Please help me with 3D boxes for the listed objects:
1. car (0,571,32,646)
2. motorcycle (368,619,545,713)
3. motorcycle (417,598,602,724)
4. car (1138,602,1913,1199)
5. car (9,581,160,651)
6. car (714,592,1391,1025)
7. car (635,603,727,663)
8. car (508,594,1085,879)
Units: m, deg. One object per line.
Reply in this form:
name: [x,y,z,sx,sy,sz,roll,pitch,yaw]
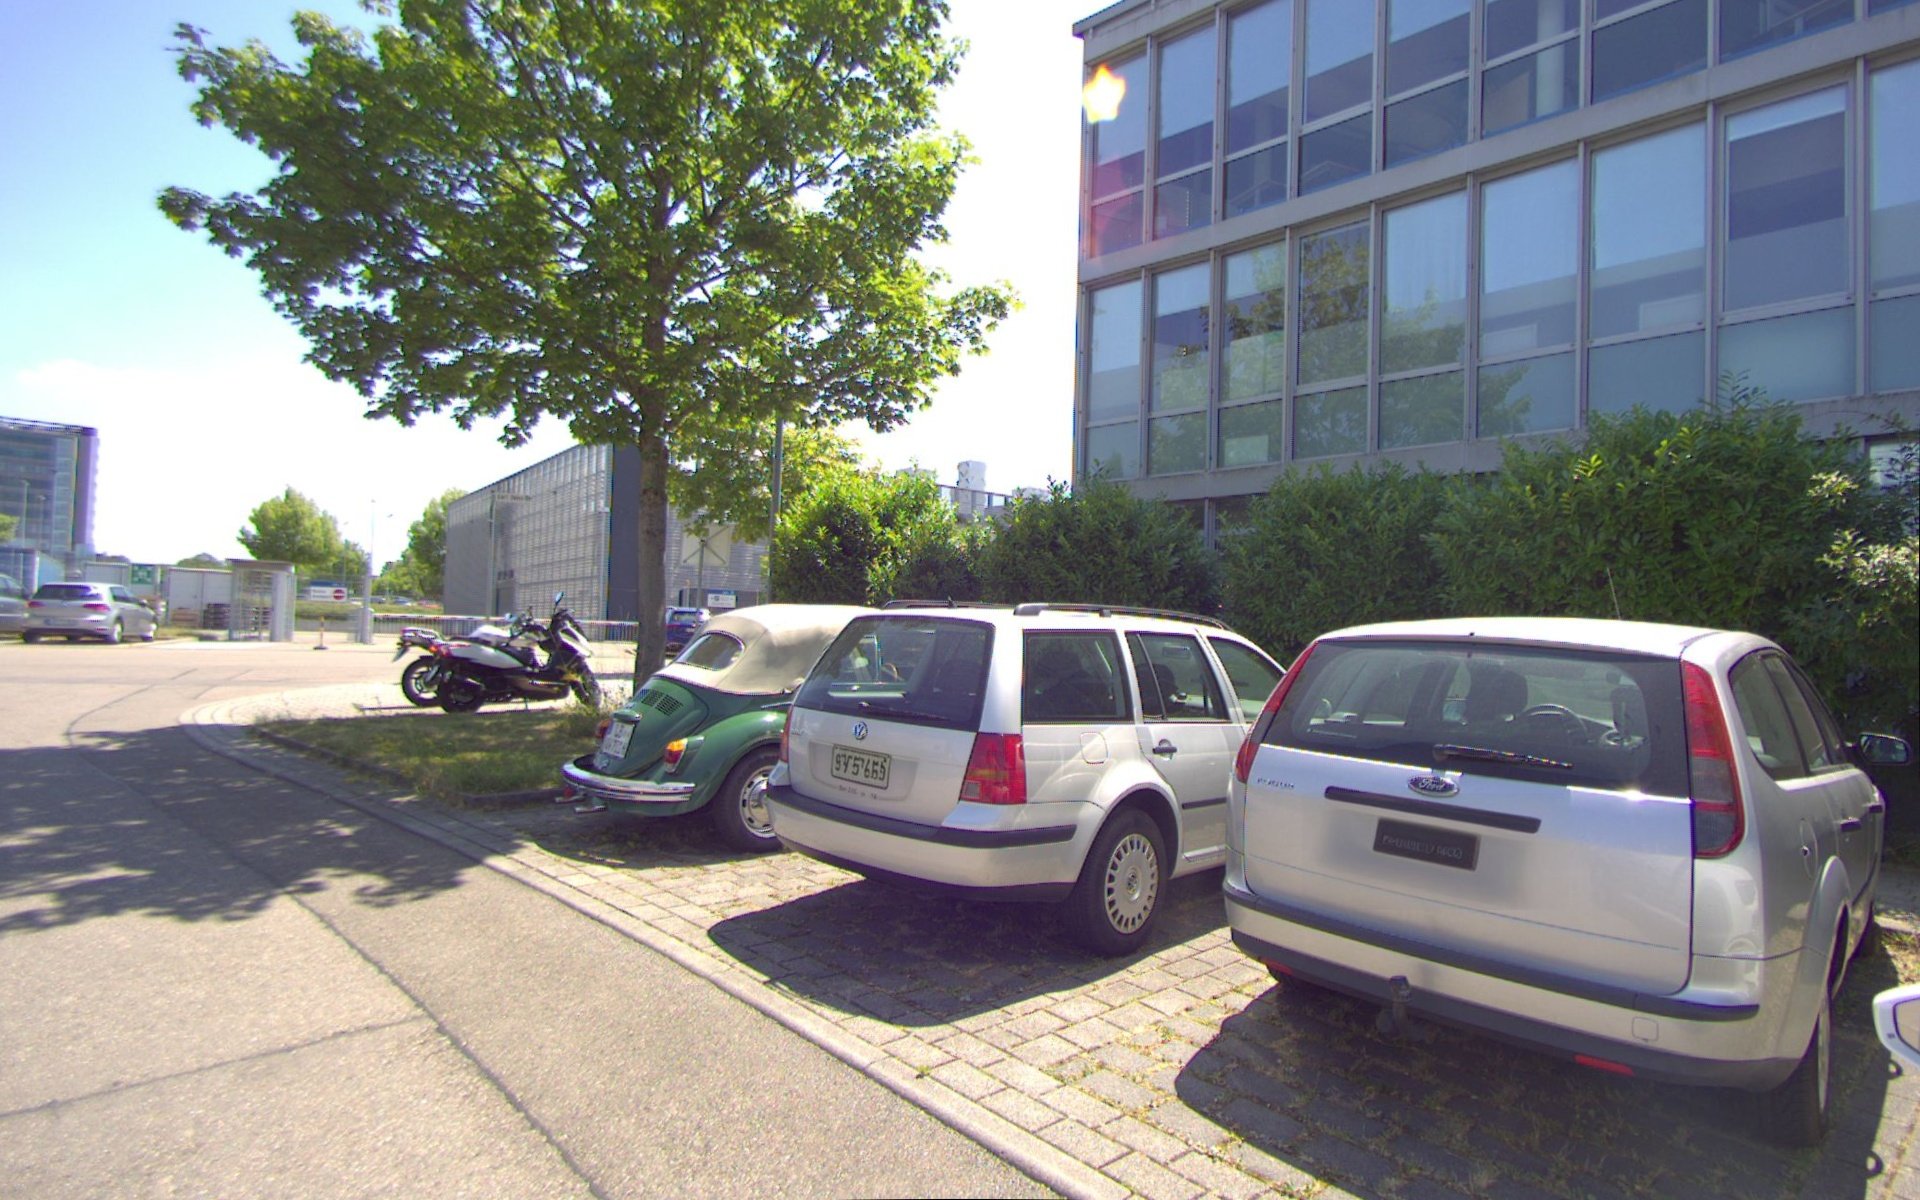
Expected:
car: [-23.703,0.170,23.822,1.753,1.761,3.964,3,-1,-33]
motorcycle: [-6.465,0.830,12.995,0.477,1.123,1.978,1,-1,43]
motorcycle: [-5.377,0.710,12.105,0.477,1.408,1.978,1,-1,43]
car: [2.760,0.854,4.293,4.319,1.498,1.702,3,-2,-44]
car: [-21.432,0.389,24.773,1.630,1.542,3.976,3,-1,-24]
car: [0.796,0.803,5.494,1.629,1.498,3.870,1,-2,43]
car: [-8.242,0.936,29.440,1.973,1.616,3.975,2,-1,-25]
car: [-0.928,0.786,7.199,1.629,1.467,3.870,1,-2,43]
